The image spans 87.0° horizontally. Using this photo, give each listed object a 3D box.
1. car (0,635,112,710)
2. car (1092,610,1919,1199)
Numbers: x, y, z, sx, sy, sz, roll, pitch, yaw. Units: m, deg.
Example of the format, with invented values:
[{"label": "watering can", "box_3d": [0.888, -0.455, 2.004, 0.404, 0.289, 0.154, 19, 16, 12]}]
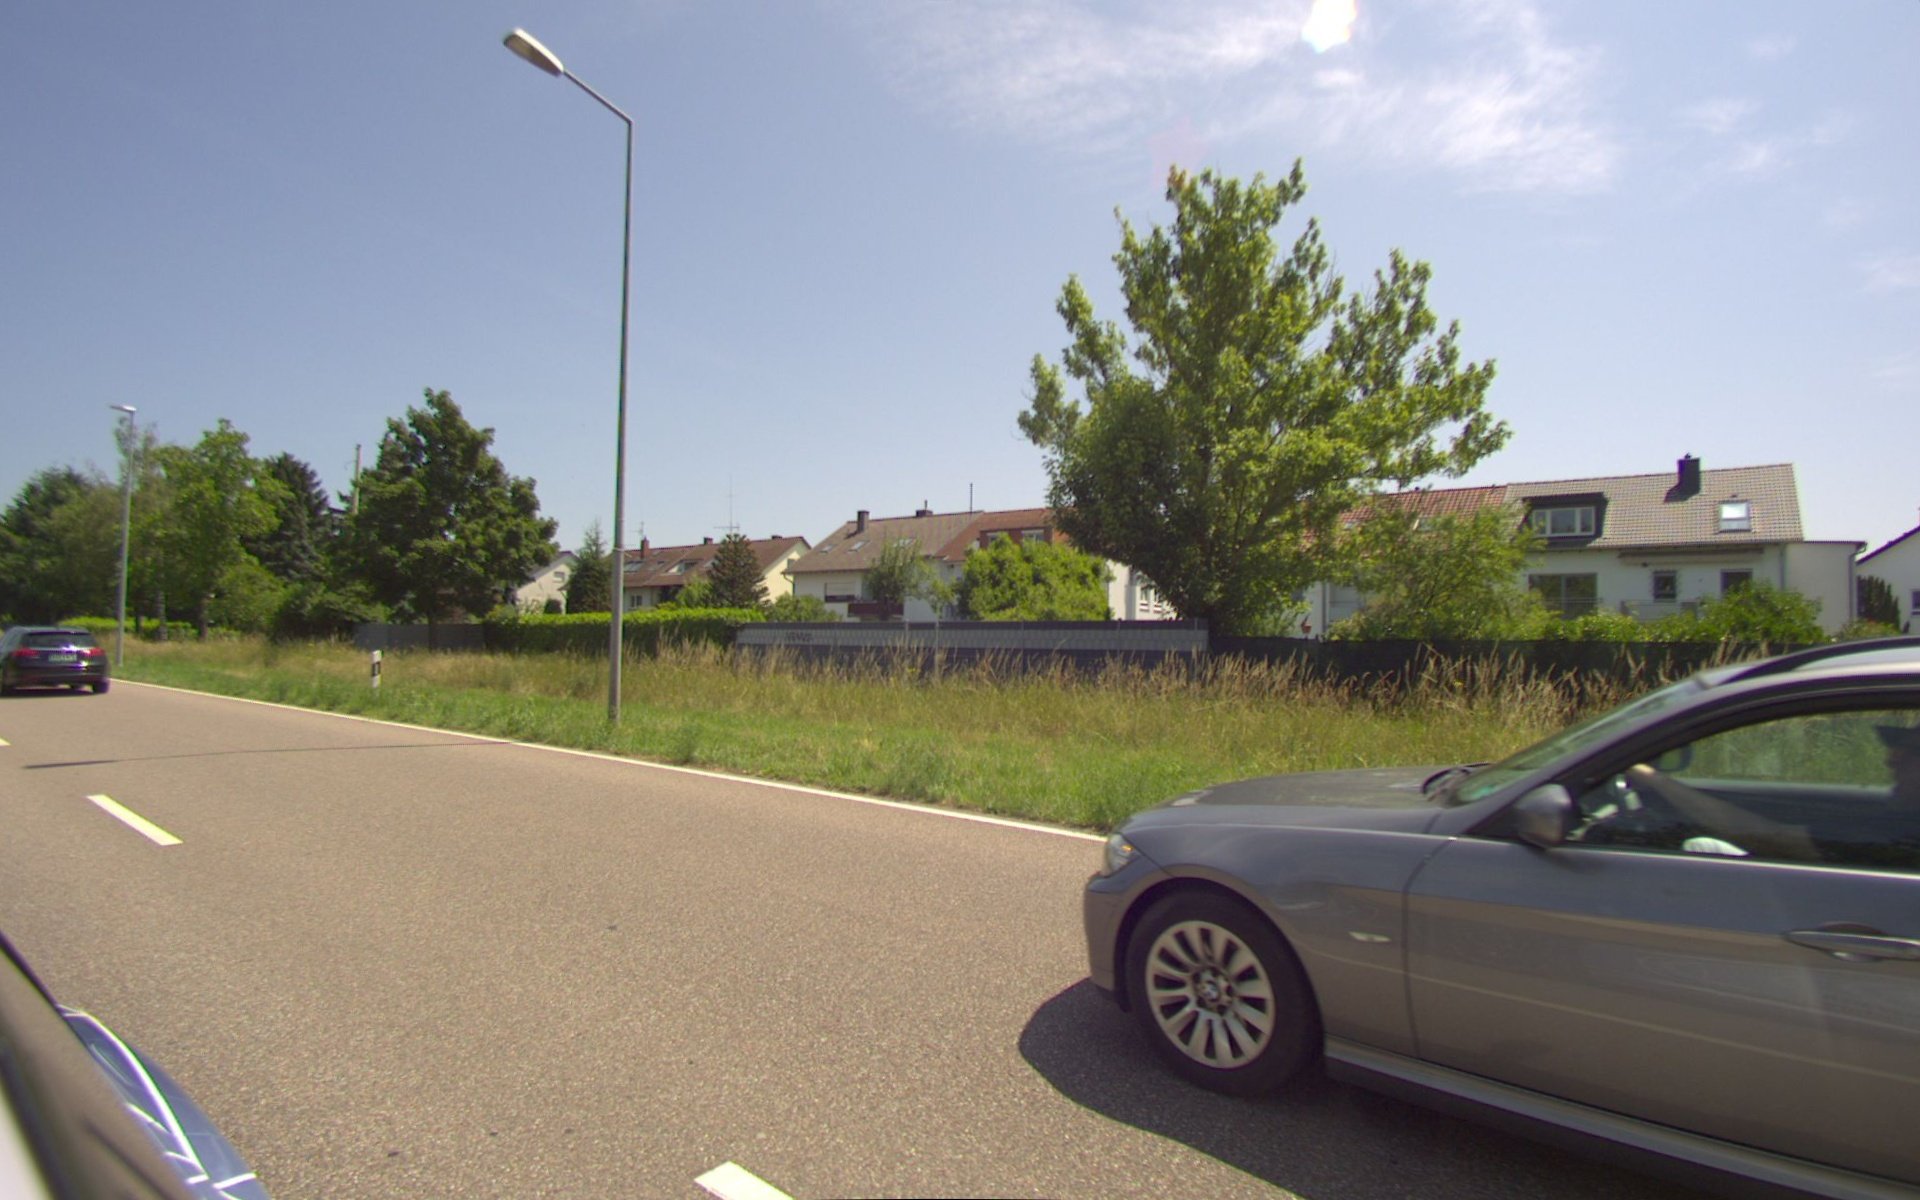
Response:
[{"label": "car", "box_3d": [-20.545, 1.540, 22.568, 4.826, 1.507, 1.717, -2, -3, 41]}, {"label": "car", "box_3d": [2.611, 0.752, 2.437, 4.321, 1.434, 1.739, -2, -3, 41]}]
